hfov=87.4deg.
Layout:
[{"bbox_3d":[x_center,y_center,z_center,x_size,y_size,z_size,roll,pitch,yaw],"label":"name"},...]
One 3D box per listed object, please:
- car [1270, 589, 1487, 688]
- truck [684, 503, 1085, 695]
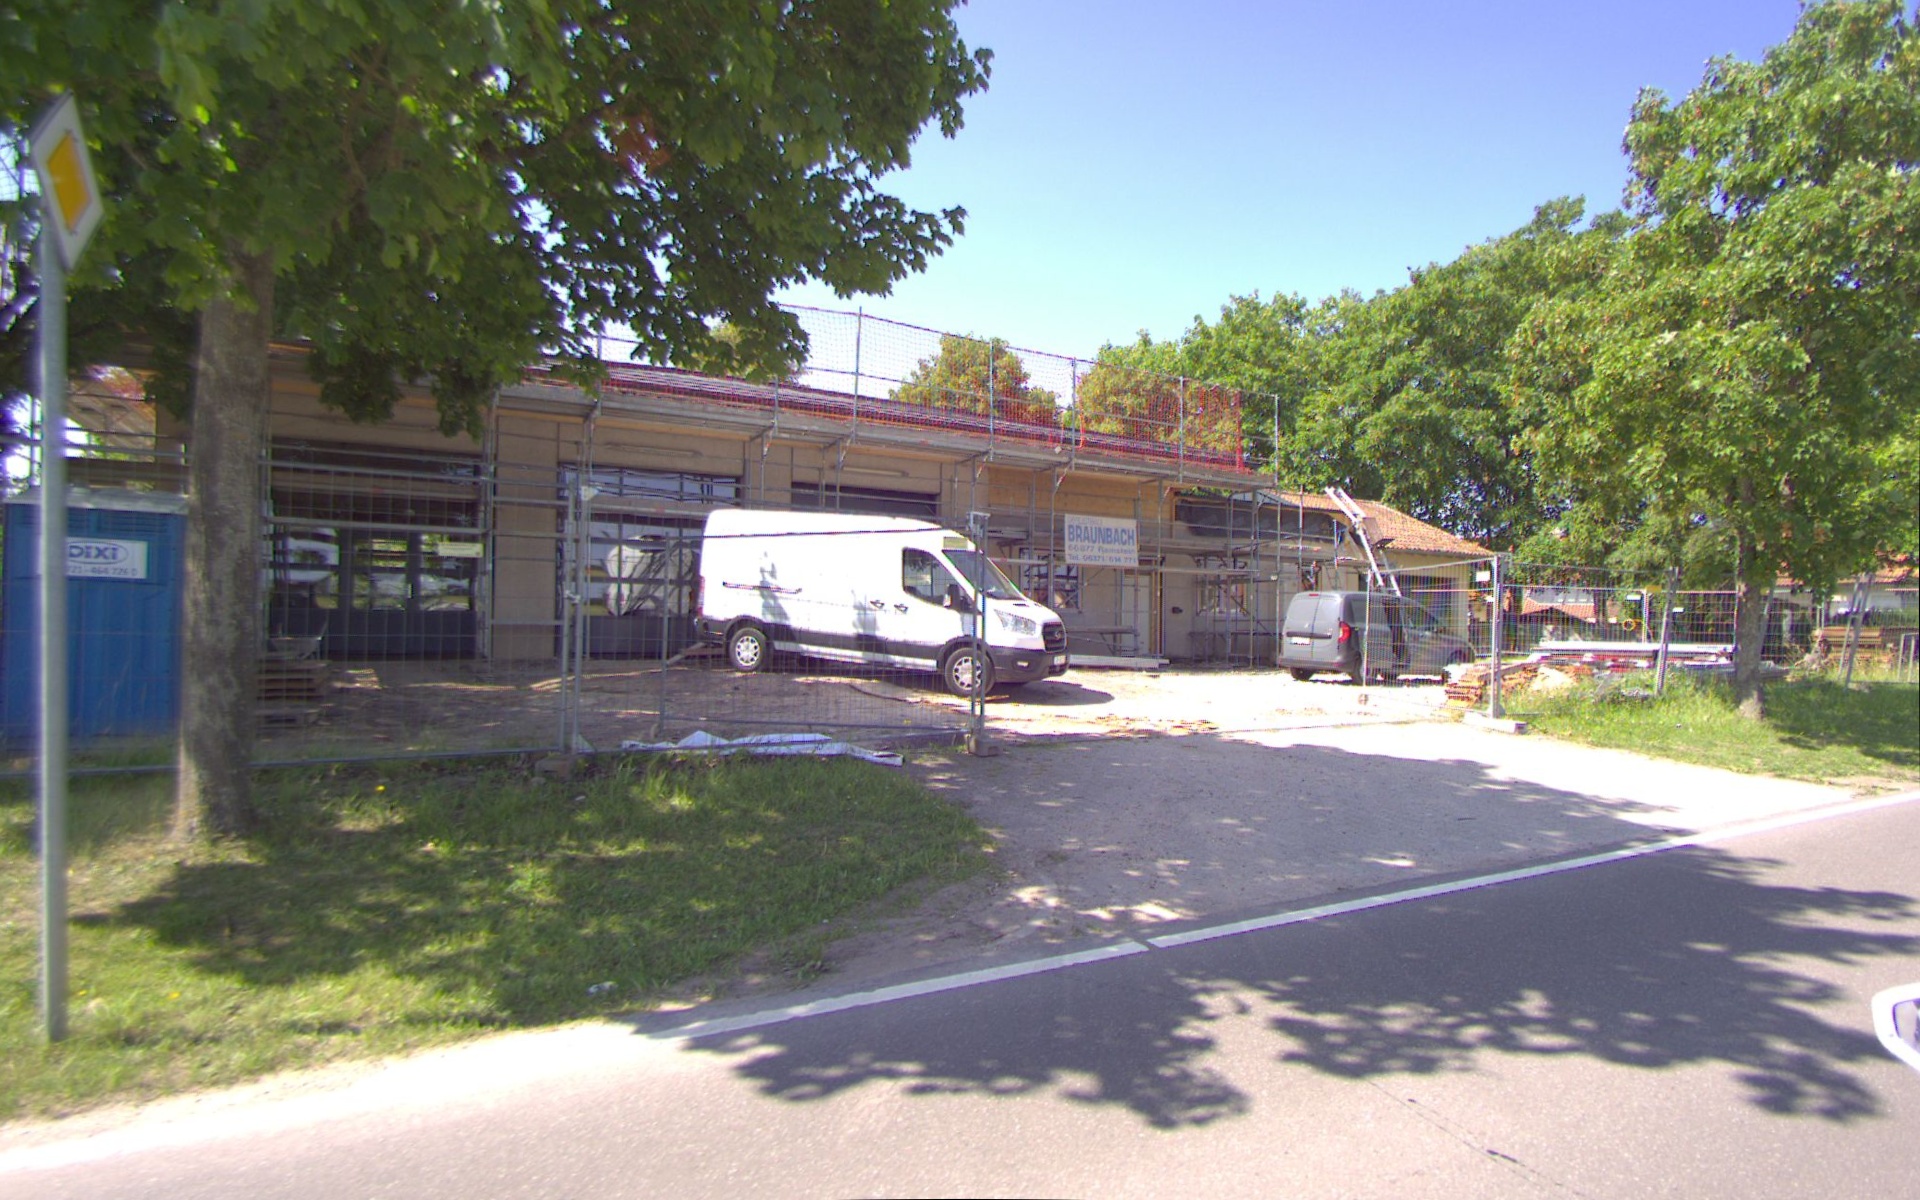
[{"bbox_3d":[8.651,0.770,20.707,4.277,1.862,1.961,1,-1,-30],"label":"car"},{"bbox_3d":[-1.208,-0.015,15.326,5.819,2.516,1.999,1,-1,25],"label":"truck"}]
